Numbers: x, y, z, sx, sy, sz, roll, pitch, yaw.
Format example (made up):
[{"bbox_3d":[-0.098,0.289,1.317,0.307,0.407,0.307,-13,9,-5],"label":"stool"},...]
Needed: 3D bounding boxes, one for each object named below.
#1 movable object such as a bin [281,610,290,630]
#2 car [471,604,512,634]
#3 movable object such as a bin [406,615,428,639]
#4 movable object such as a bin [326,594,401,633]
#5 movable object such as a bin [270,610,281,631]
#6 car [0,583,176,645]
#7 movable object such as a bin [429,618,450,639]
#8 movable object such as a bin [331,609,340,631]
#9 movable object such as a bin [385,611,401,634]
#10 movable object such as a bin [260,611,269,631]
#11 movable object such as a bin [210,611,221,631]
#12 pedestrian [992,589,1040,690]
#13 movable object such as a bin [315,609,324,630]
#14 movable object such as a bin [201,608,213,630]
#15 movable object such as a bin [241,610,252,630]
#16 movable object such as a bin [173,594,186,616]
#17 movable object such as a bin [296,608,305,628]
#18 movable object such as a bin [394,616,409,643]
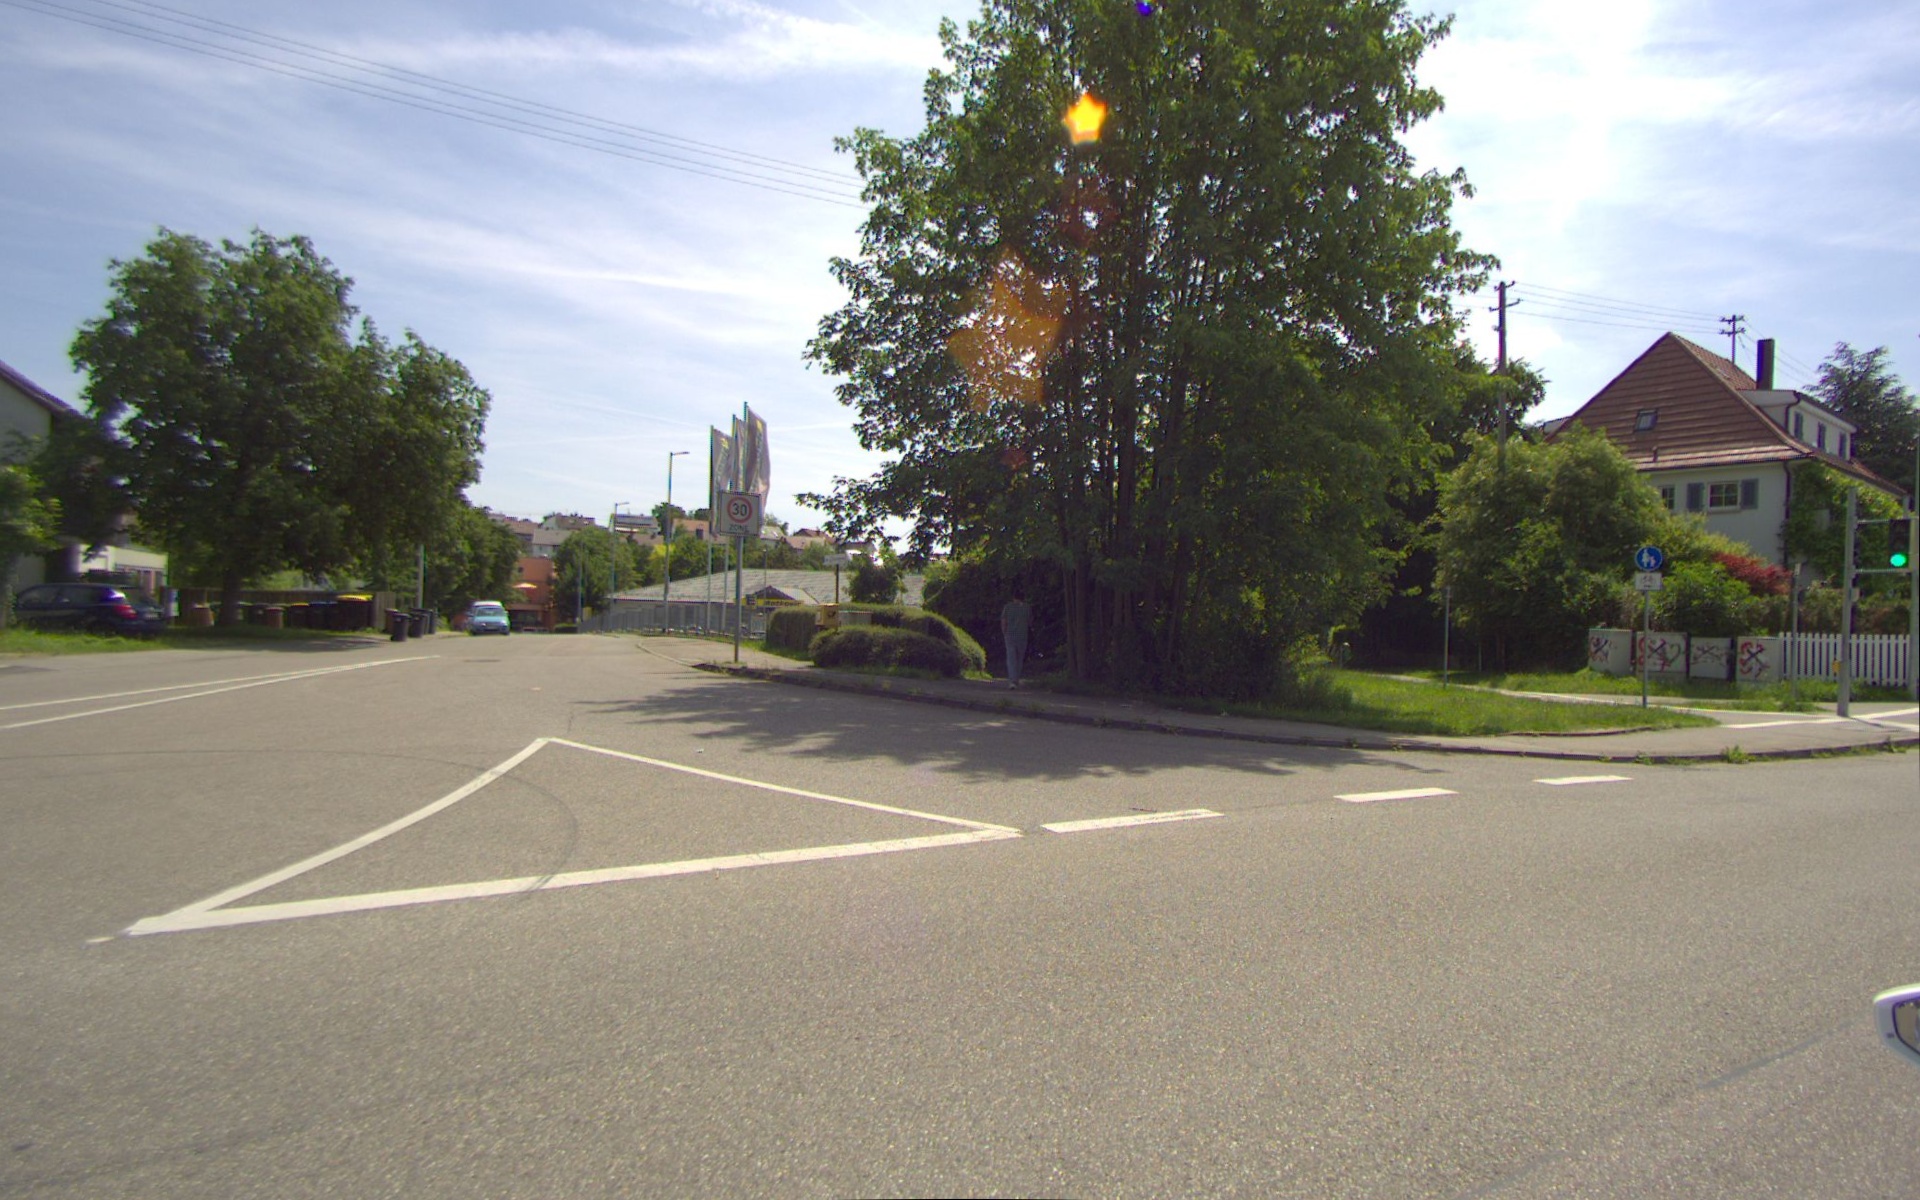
[{"bbox_3d":[-25.270,0.764,37.614,0.233,0.738,0.229,1,0,44],"label":"movable object such as a bin"},{"bbox_3d":[-22.875,0.887,48.975,1.733,1.352,3.843,1,0,-26],"label":"car"},{"bbox_3d":[-20.233,0.996,37.440,0.510,0.886,0.516,1,0,22],"label":"movable object such as a bin"},{"bbox_3d":[-22.508,0.512,37.975,1.485,1.405,2.208,-1,-1,2],"label":"movable object such as a bin"},{"bbox_3d":[-24.530,0.743,35.975,0.232,0.738,0.230,1,0,22],"label":"movable object such as a bin"},{"bbox_3d":[-21.193,0.328,24.019,3.545,1.380,1.394,1,0,-13],"label":"car"},{"bbox_3d":[-20.204,1.104,39.003,0.510,0.782,0.479,1,0,22],"label":"movable object such as a bin"},{"bbox_3d":[-23.937,0.765,38.507,0.233,0.815,0.229,1,0,44],"label":"movable object such as a bin"},{"bbox_3d":[-21.356,0.855,37.852,0.364,0.868,0.373,1,0,9],"label":"movable object such as a bin"},{"bbox_3d":[-25.912,0.765,37.404,0.233,0.738,0.229,1,0,44],"label":"movable object such as a bin"},{"bbox_3d":[-27.171,0.769,36.672,0.232,0.738,0.230,1,0,22],"label":"movable object such as a bin"},{"bbox_3d":[1.023,0.724,18.334,0.678,1.800,0.736,2,-2,-12],"label":"pedestrian"},{"bbox_3d":[-24.333,0.739,38.166,0.233,0.815,0.229,1,0,44],"label":"movable object such as a bin"},{"bbox_3d":[-26.083,0.663,34.798,0.232,0.738,0.250,1,0,22],"label":"movable object such as a bin"},{"bbox_3d":[-26.395,0.726,37.153,0.232,0.738,0.229,1,0,34],"label":"movable object such as a bin"},{"bbox_3d":[-25.942,0.160,33.389,0.232,0.738,0.250,1,0,22],"label":"movable object such as a bin"},{"bbox_3d":[-24.845,0.669,37.863,0.233,0.738,0.229,1,0,44],"label":"movable object such as a bin"},{"bbox_3d":[-18.950,0.998,34.101,0.391,0.886,0.390,1,0,-23],"label":"movable object such as a bin"}]
